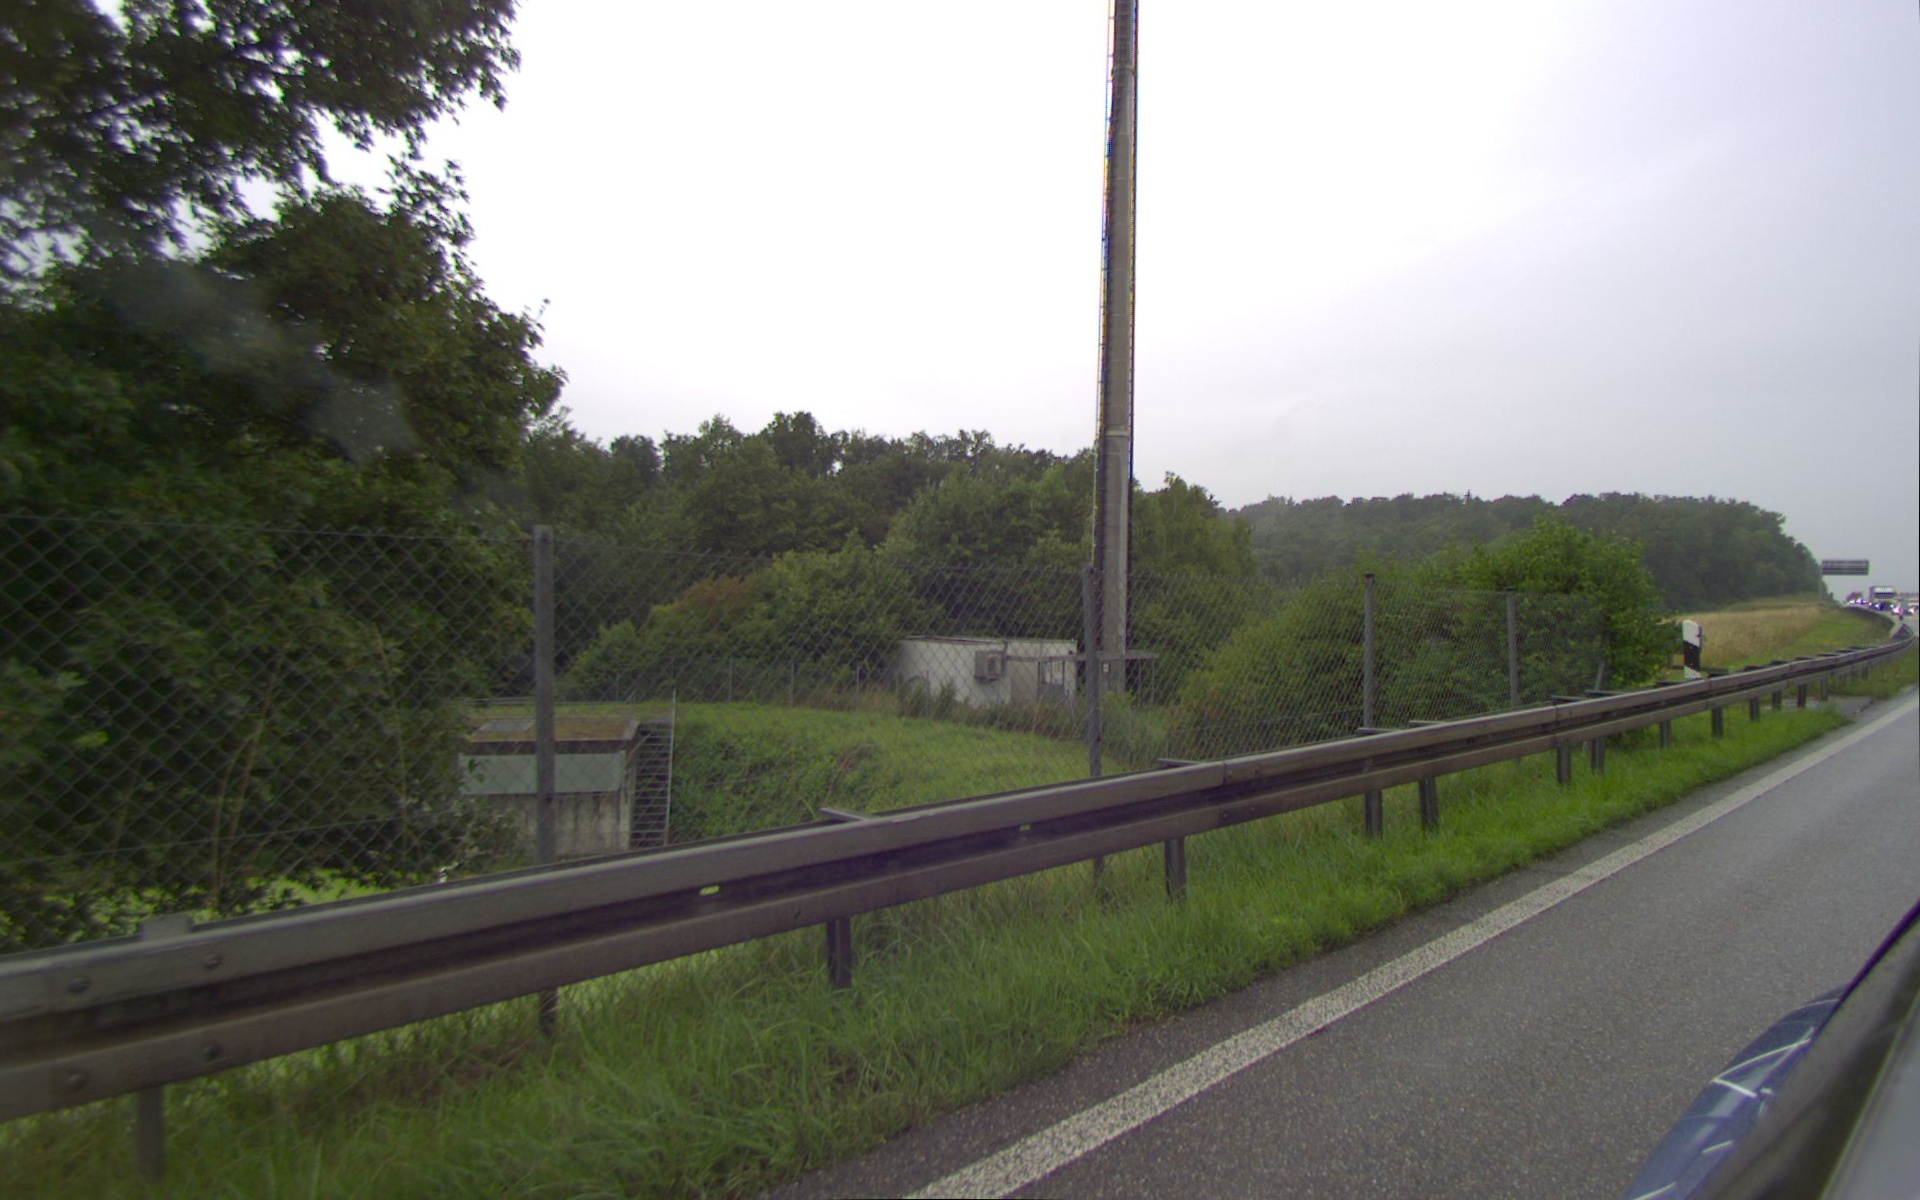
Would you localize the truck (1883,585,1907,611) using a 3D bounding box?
[{"bbox_3d":[155.801,-0.261,168.634,5.144,4.198,2.591,1,-2,-45],"label":"truck"}]
